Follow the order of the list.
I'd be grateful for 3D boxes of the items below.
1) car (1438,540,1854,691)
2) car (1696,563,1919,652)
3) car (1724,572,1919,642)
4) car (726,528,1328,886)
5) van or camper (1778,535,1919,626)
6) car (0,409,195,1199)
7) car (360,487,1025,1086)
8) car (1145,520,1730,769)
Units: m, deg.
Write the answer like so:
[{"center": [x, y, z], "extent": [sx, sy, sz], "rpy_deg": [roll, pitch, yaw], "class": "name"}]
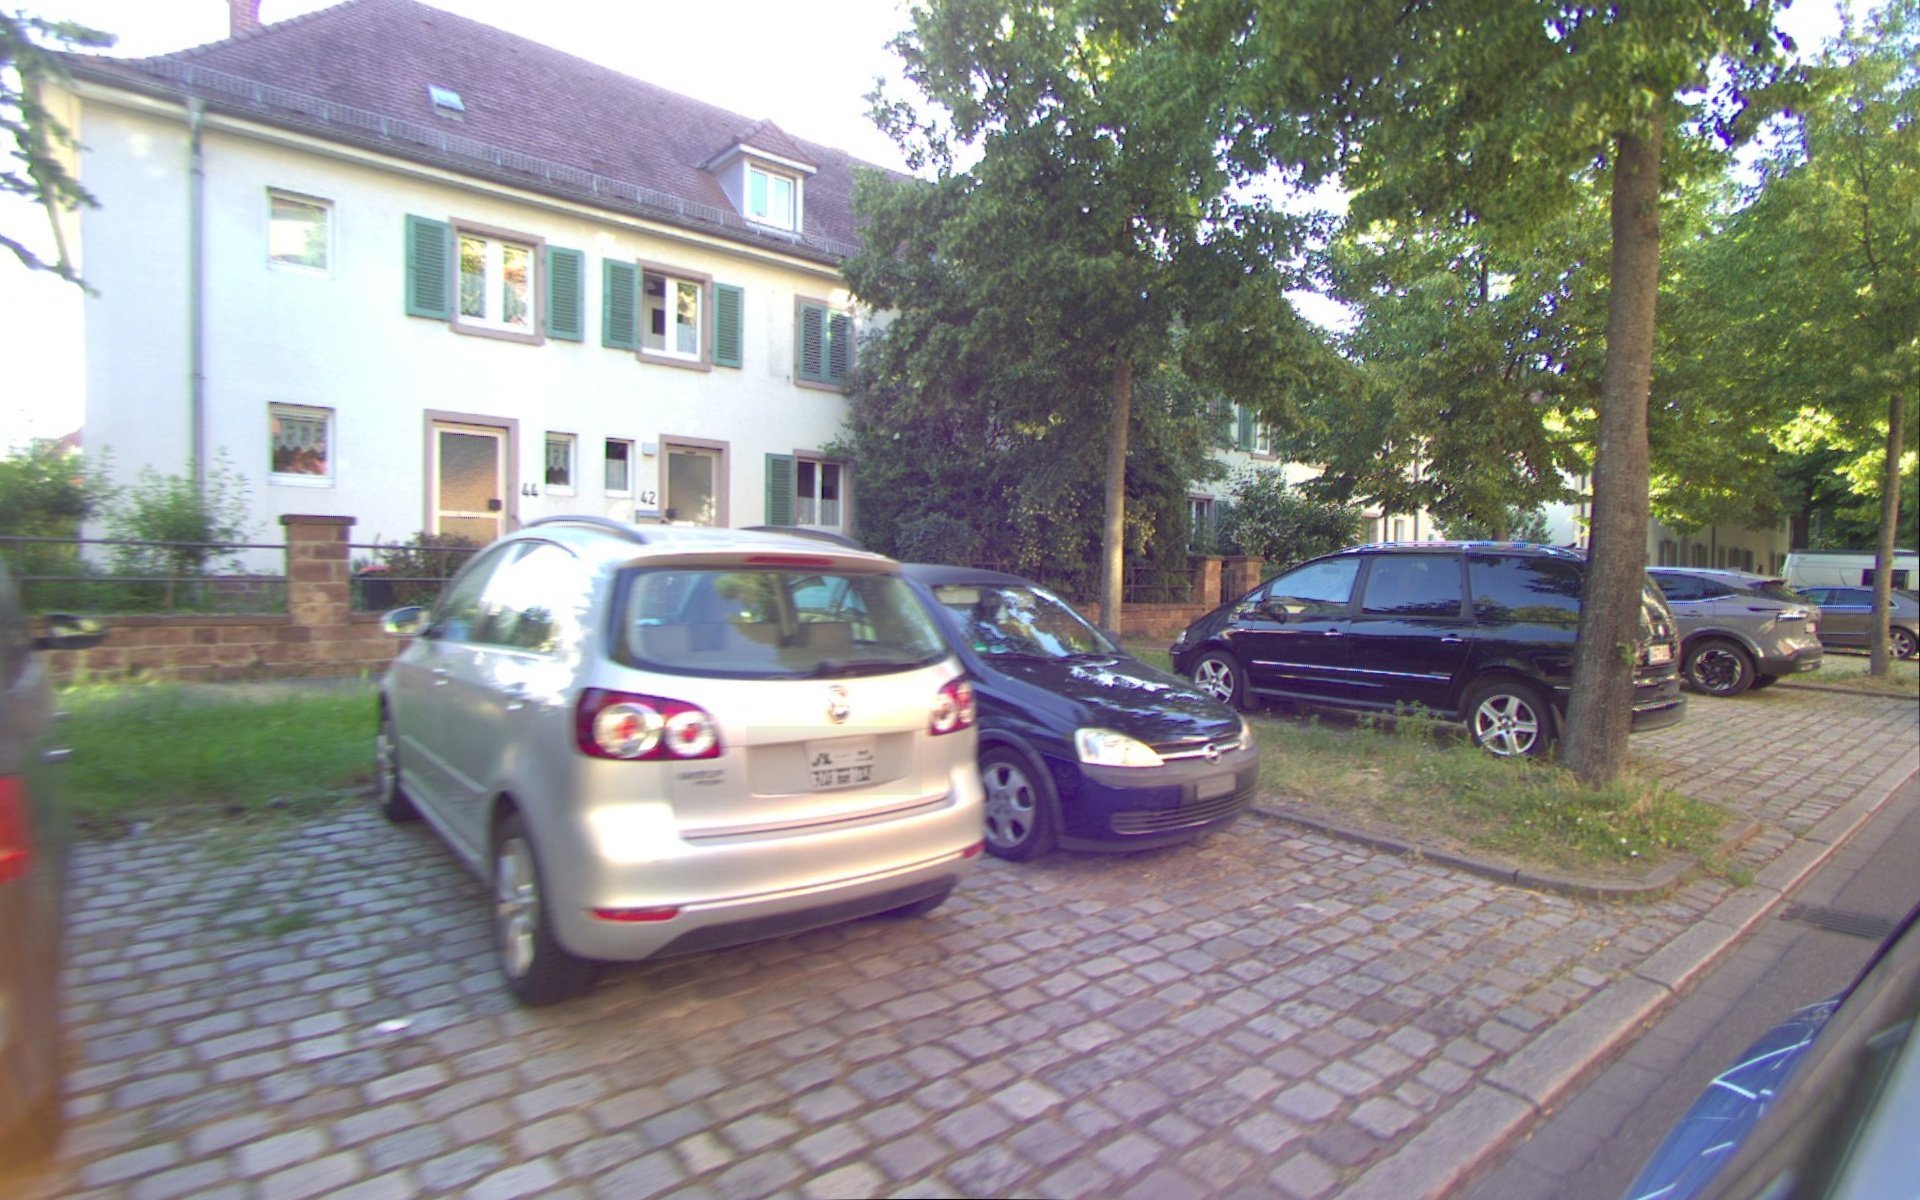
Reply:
[{"center": [9.484, 0.078, 14.326], "extent": [1.843, 1.653, 4.486], "rpy_deg": [0, 5, -41], "class": "car"}, {"center": [18.786, 0.140, 21.432], "extent": [1.862, 1.557, 4.847], "rpy_deg": [-1, 5, -42], "class": "car"}, {"center": [22.602, 0.151, 25.913], "extent": [1.796, 1.453, 4.488], "rpy_deg": [0, 5, -40], "class": "car"}, {"center": [0.137, 0.363, 6.322], "extent": [1.561, 1.471, 3.731], "rpy_deg": [0, 5, -40], "class": "car"}, {"center": [28.541, -0.554, 30.423], "extent": [2.124, 2.546, 5.734], "rpy_deg": [0, 5, -40], "class": "van or camper"}, {"center": [-3.727, 0.329, 2.927], "extent": [4.542, 1.653, 1.783], "rpy_deg": [6, 5, 44], "class": "car"}, {"center": [-1.728, 0.346, 4.977], "extent": [1.659, 1.653, 4.288], "rpy_deg": [0, 5, -37], "class": "car"}, {"center": [4.151, 0.171, 9.572], "extent": [1.872, 1.697, 4.596], "rpy_deg": [0, 5, -38], "class": "car"}]
